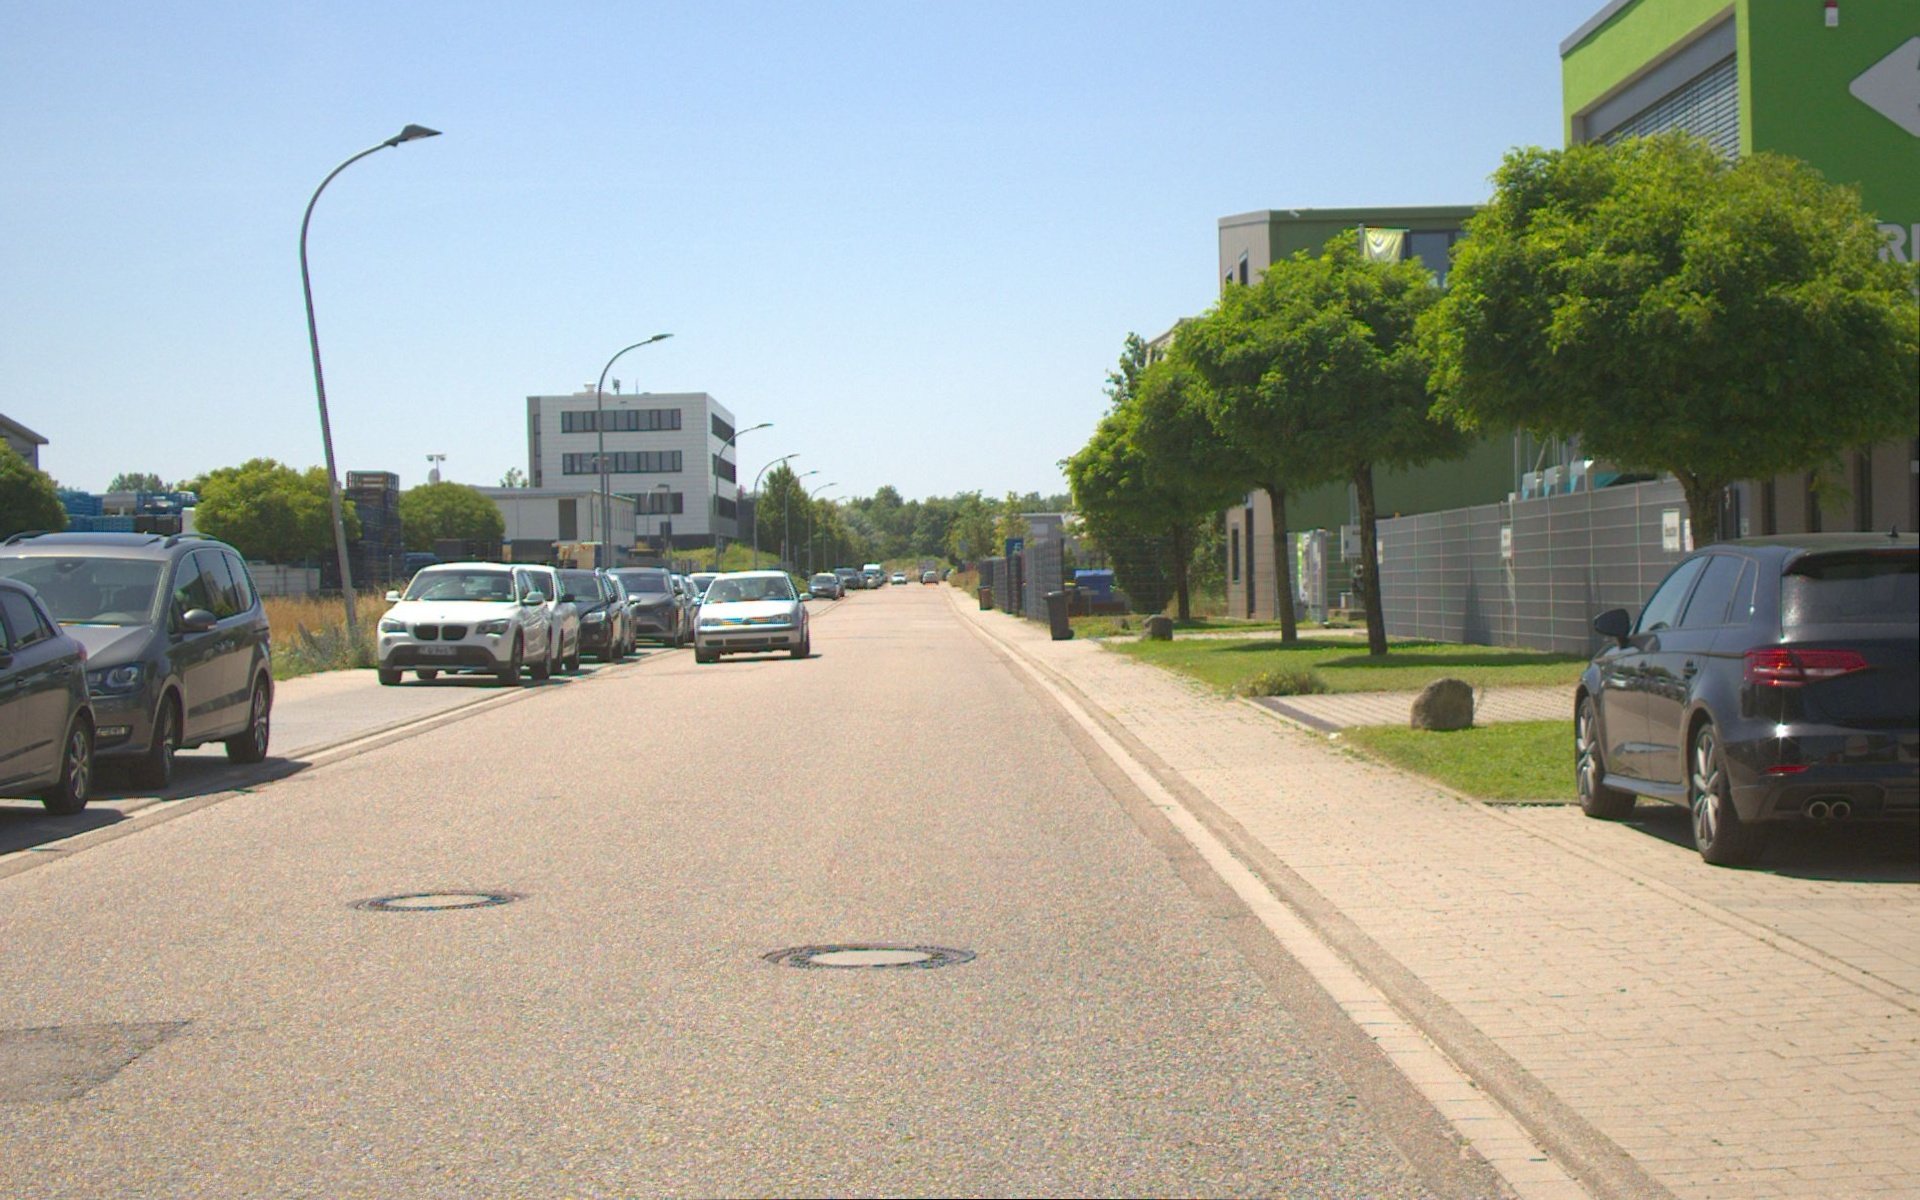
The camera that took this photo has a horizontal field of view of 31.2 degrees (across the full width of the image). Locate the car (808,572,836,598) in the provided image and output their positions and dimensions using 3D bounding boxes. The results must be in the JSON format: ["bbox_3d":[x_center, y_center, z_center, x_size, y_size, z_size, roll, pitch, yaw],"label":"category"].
[{"bbox_3d":[-8.079,-0.911,201.690,1.466,1.484,3.207,-1,0,0],"label":"car"}]

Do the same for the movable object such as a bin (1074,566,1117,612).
[{"bbox_3d":[4.410,-0.365,111.943,1.334,1.454,0.949,-2,0,-1],"label":"movable object such as a bin"}]

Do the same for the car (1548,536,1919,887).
[{"bbox_3d":[3.980,0.422,16.074,1.692,1.423,4.246,0,1,-1],"label":"car"}]

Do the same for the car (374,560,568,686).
[{"bbox_3d":[-6.283,0.269,44.578,1.787,1.537,4.364,0,0,1],"label":"car"}]

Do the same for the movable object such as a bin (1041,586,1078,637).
[{"bbox_3d":[1.891,0.213,65.313,0.552,0.925,0.521,-5,0,9],"label":"movable object such as a bin"}]

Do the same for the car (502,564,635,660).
[{"bbox_3d":[-6.428,0.173,56.788,1.763,1.512,4.380,0,0,-1],"label":"car"}]

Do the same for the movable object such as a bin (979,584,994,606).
[{"bbox_3d":[1.202,-0.214,153.721,0.552,0.925,0.522,-5,1,4],"label":"movable object such as a bin"}]

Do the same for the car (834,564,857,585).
[{"bbox_3d":[-8.530,-1.905,256.670,1.644,1.484,3.207,-1,0,0],"label":"car"}]

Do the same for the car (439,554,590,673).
[{"bbox_3d":[-6.439,0.175,49.998,1.787,1.651,3.769,0,0,-1],"label":"car"}]

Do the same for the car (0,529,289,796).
[{"bbox_3d":[-6.089,0.367,24.368,1.802,1.714,4.622,0,1,0],"label":"car"}]

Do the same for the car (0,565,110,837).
[{"bbox_3d":[-6.125,0.555,19.432,1.634,1.495,3.971,0,1,0],"label":"car"}]

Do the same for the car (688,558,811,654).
[{"bbox_3d":[-3.411,0.065,56.290,1.704,1.406,4.784,-3,1,-1],"label":"car"}]

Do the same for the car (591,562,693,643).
[{"bbox_3d":[-6.497,0.036,70.659,1.790,1.601,4.463,0,0,-1],"label":"car"}]
